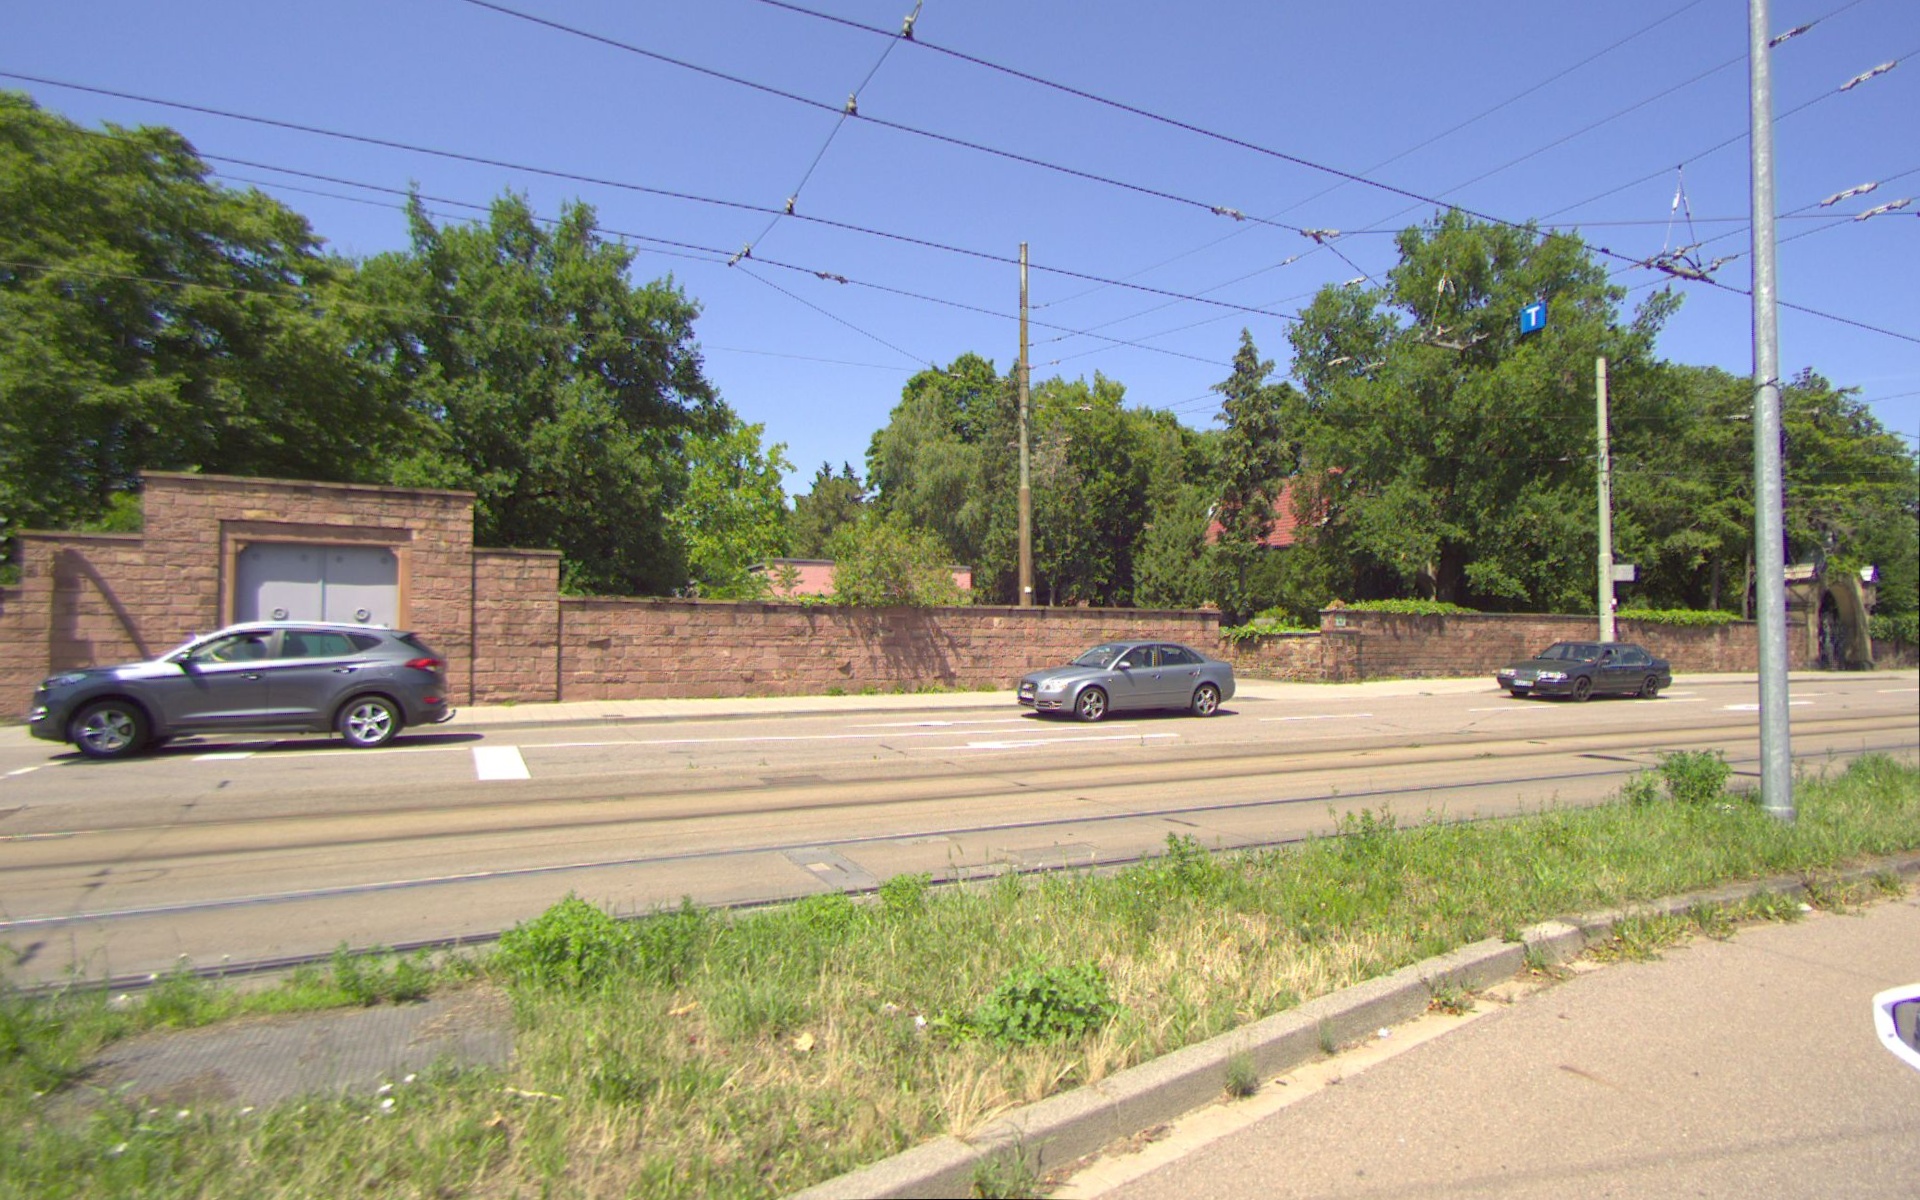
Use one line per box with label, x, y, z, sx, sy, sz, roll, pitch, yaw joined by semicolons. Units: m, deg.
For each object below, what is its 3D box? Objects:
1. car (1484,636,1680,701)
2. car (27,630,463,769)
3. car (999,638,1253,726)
car;15.735;1.666;25.355;4.966;1.436;1.834;1;1;-26
car;-9.033;1.196;13.260;4.407;1.575;1.835;1;-2;-27
car;3.236;1.508;19.412;4.648;1.436;1.835;1;1;-26
